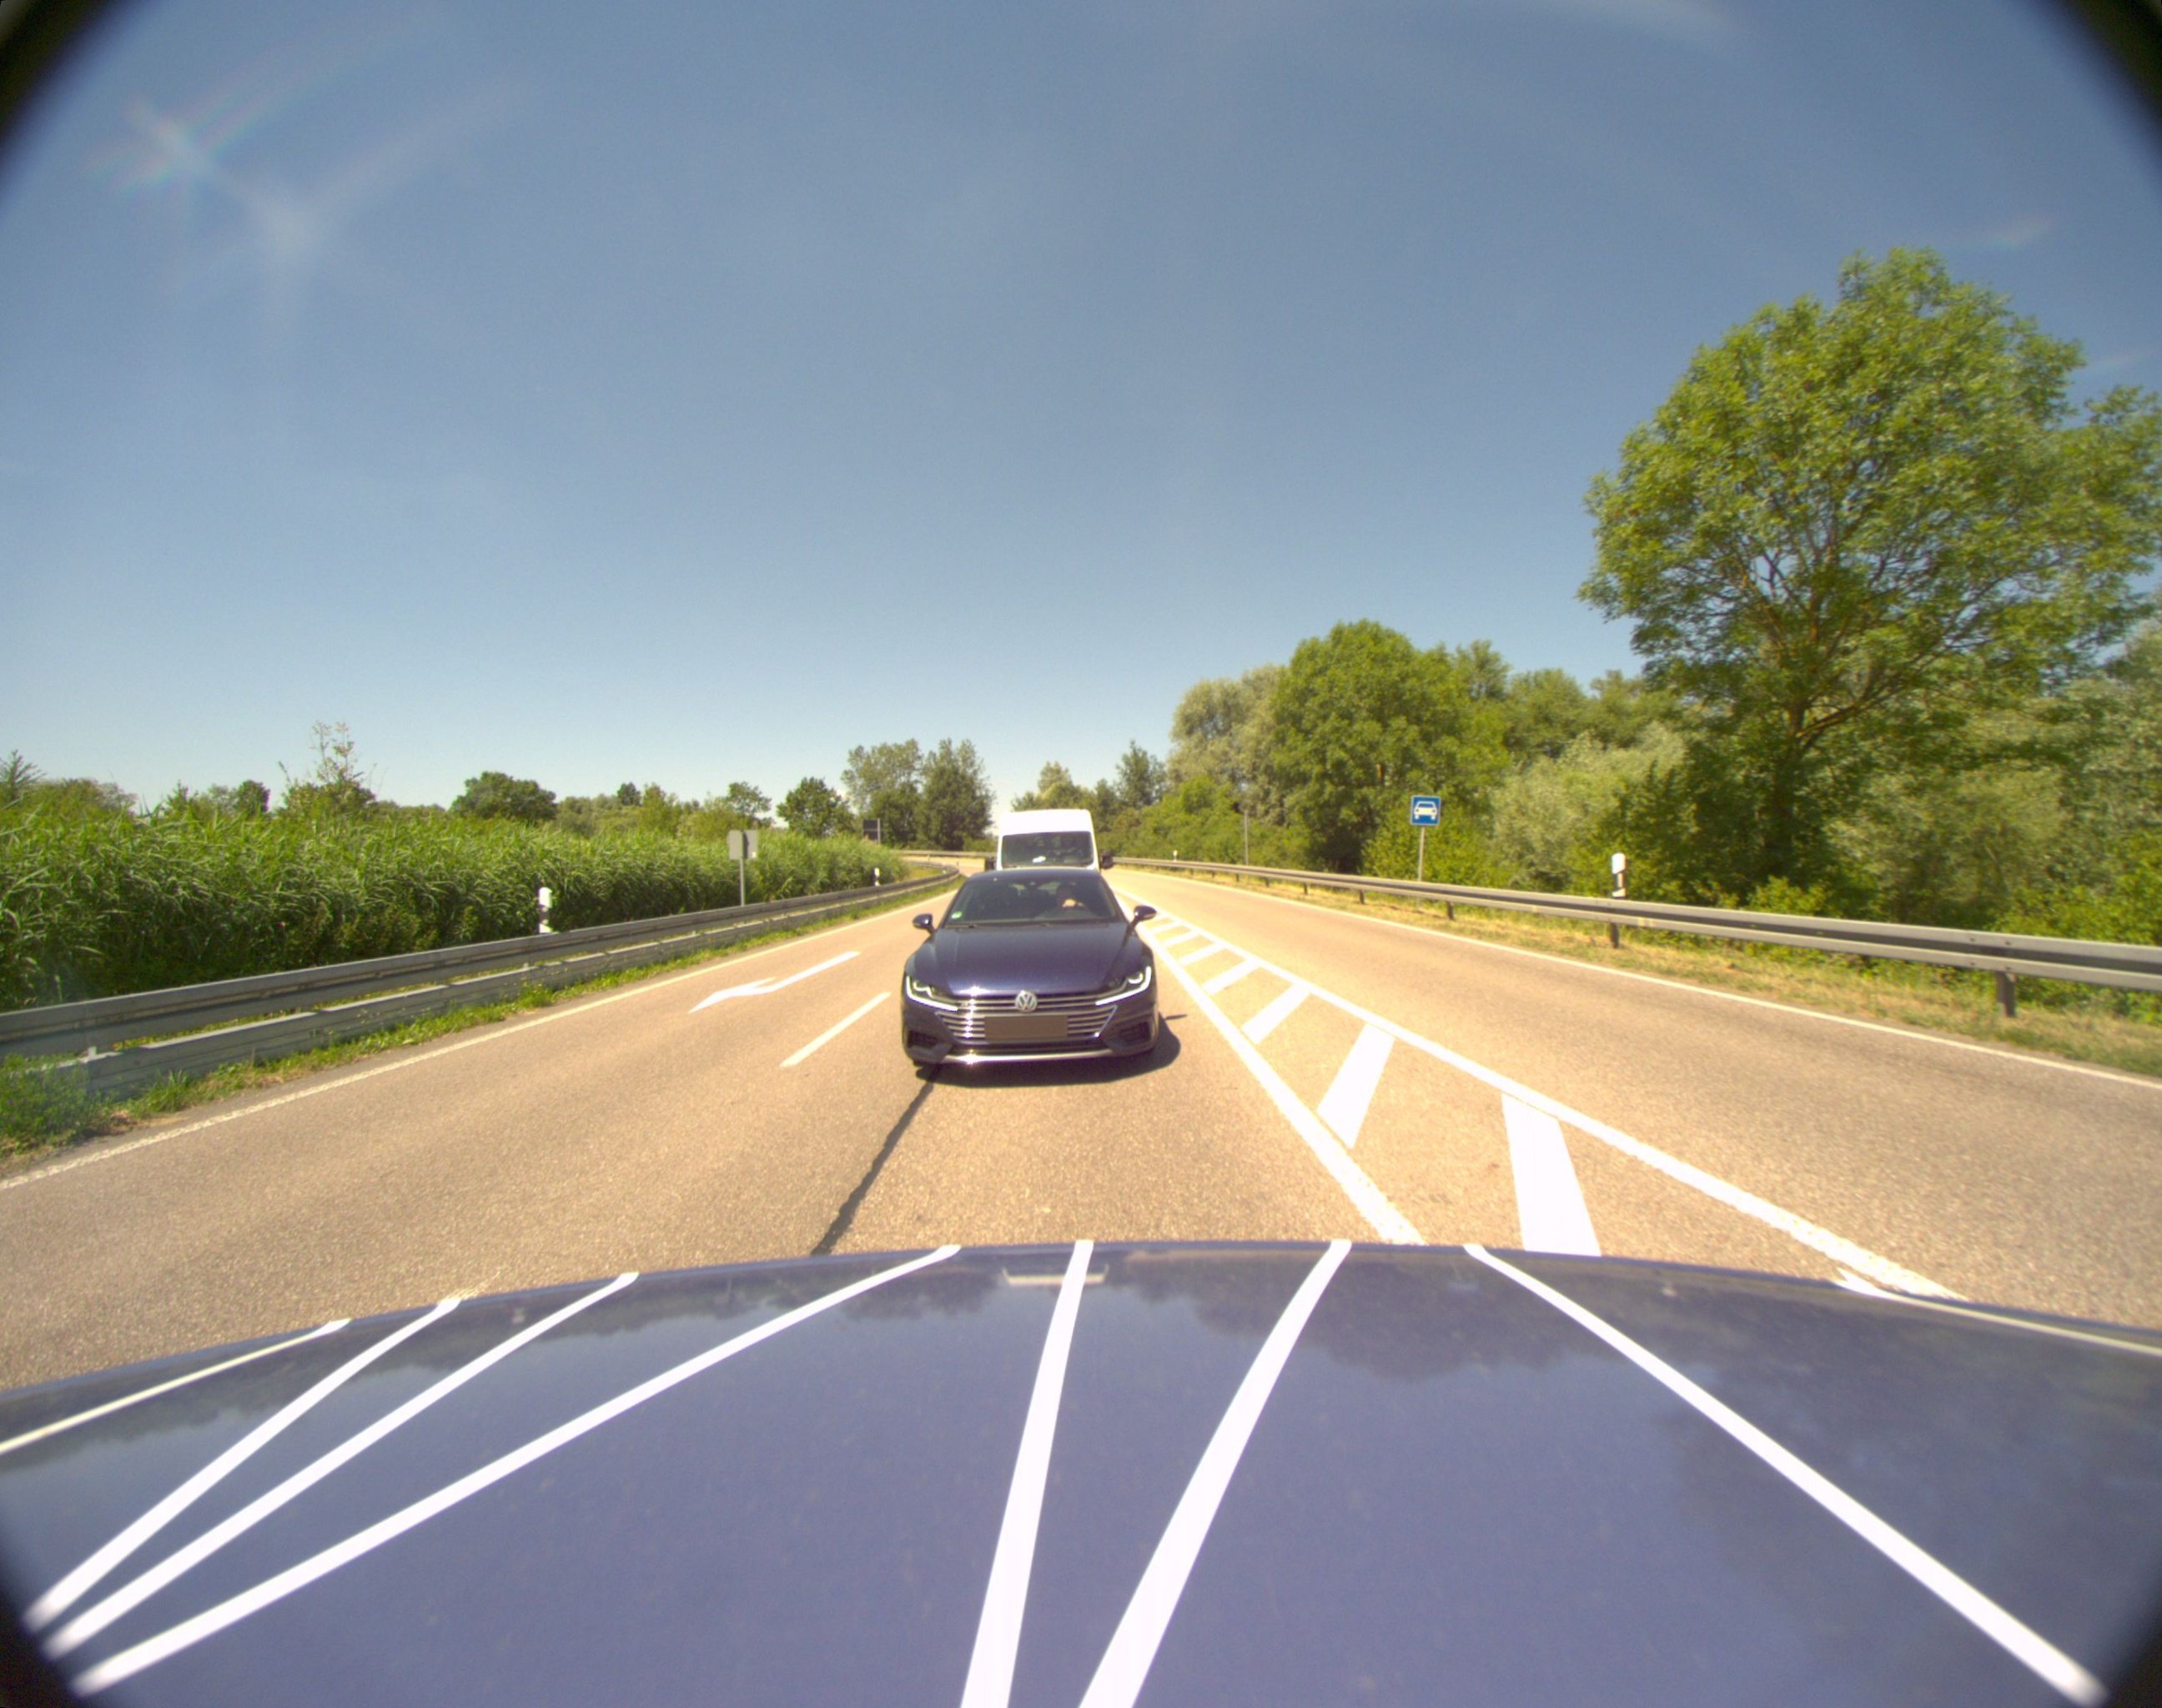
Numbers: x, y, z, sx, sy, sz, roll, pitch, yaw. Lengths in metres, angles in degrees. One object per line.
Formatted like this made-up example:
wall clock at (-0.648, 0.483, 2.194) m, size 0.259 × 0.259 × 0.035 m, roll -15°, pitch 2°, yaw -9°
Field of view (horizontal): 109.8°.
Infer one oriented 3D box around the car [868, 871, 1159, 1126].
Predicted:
car at (-0.407, 0.950, 6.737) m, size 1.761 × 1.401 × 3.999 m, roll -2°, pitch 1°, yaw 0°

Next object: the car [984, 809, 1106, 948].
car at (-0.625, 0.402, 16.287) m, size 2.059 × 2.376 × 5.826 m, roll -2°, pitch 1°, yaw 0°
